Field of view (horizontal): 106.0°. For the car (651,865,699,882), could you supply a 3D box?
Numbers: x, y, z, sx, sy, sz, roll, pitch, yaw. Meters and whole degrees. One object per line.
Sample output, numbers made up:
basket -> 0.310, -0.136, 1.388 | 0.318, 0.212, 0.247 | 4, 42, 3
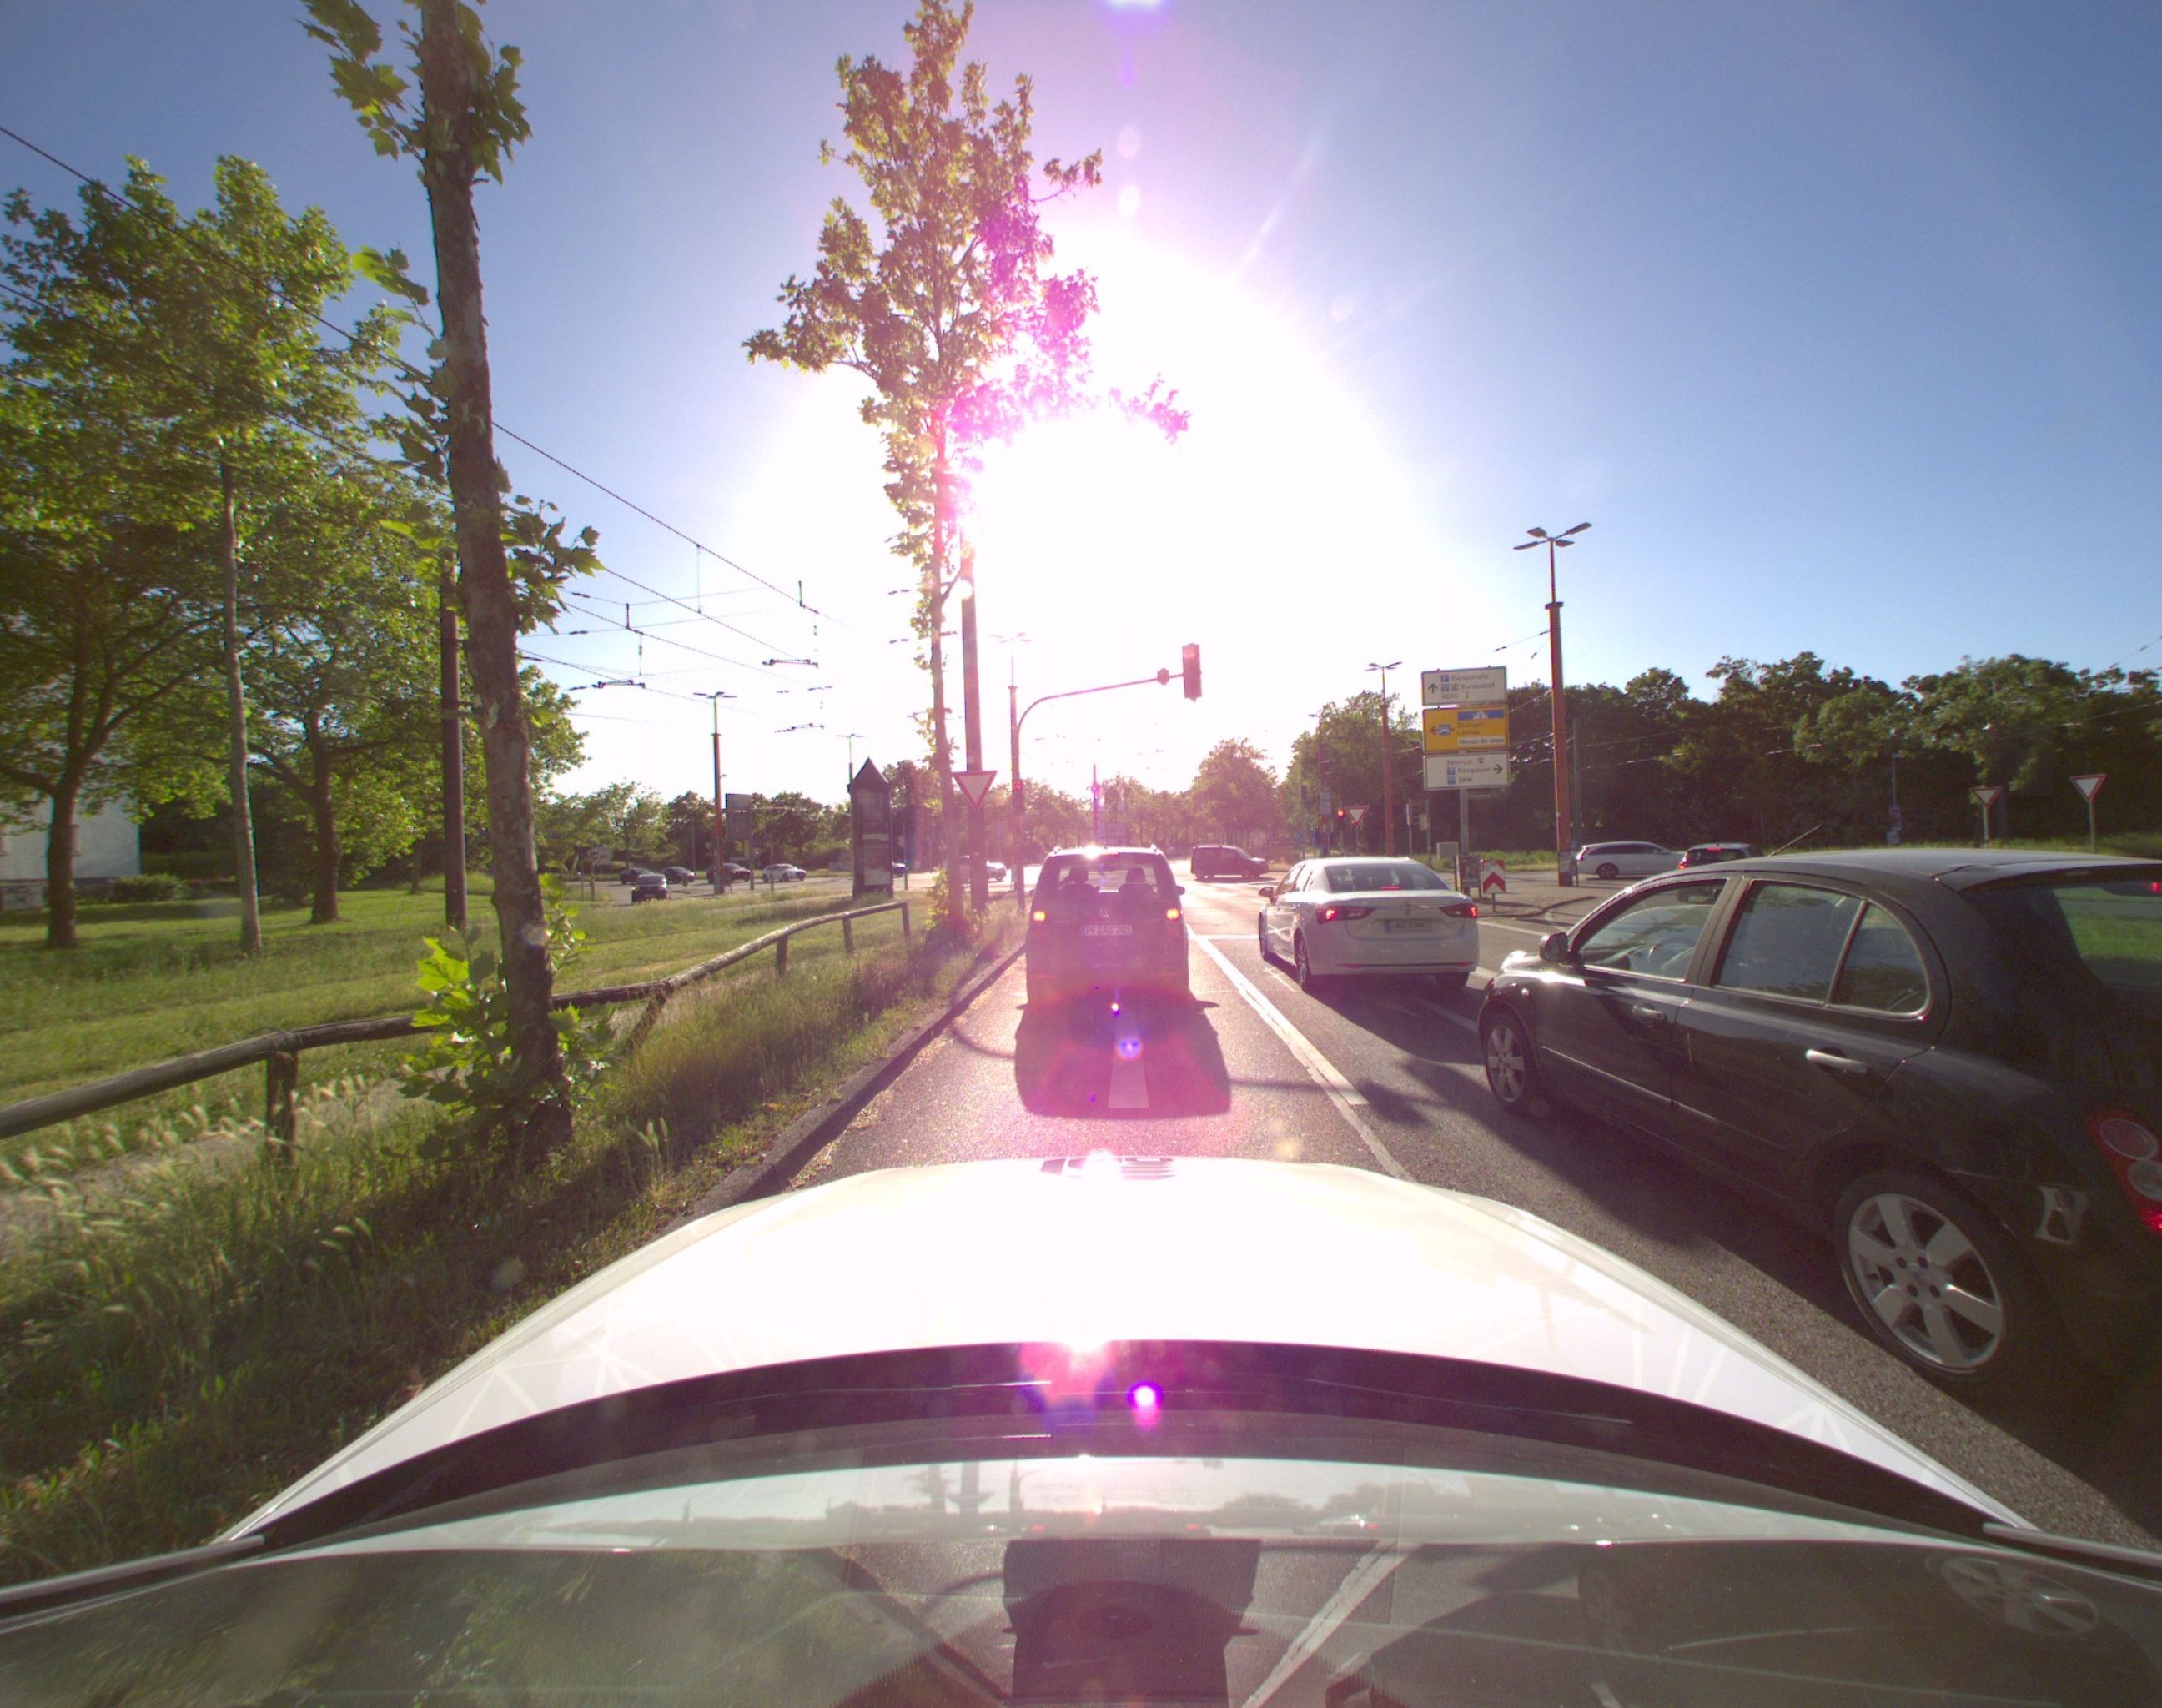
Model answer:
car -> -37.323, 1.776, 74.822 | 4.004, 1.464, 1.926 | -2, 0, 28

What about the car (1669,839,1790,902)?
car -> 16.896, 0.380, 21.148 | 3.913, 1.469, 1.731 | -2, 0, -41

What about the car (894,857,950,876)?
car -> -13.032, 1.025, 66.835 | 4.194, 1.464, 1.914 | -2, 0, 0

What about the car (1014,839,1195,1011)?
car -> 0.295, 0.695, 9.985 | 1.731, 1.641, 4.002 | -2, 0, 2

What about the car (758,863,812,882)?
car -> -24.746, 1.538, 68.119 | 4.169, 1.464, 1.926 | -2, 0, 29

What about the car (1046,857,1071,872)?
car -> -2.862, 1.332, 104.509 | 1.980, 1.684, 4.846 | -2, 0, 13

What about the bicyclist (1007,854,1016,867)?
bicyclist -> -8.112, 0.762, 95.010 | 0.686, 1.457, 0.879 | -2, -1, 20

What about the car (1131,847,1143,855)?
car -> 12.568, -0.735, 183.059 | 1.979, 1.684, 4.846 | -2, 0, 14

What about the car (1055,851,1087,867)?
car -> -1.109, 0.511, 91.920 | 1.977, 1.684, 4.853 | -2, 0, 20

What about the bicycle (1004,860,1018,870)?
bicycle -> -8.143, 1.229, 94.789 | 0.728, 1.090, 1.971 | -2, 0, 21

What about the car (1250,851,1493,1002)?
car -> 3.297, 0.718, 10.113 | 1.708, 1.454, 4.147 | -2, 0, 3

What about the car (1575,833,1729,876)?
car -> 22.783, 0.050, 32.775 | 4.867, 1.575, 2.013 | -2, 0, 30

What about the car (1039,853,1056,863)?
car -> -4.862, 0.540, 118.094 | 1.647, 1.310, 3.827 | -2, 0, 11

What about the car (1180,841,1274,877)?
car -> 8.078, 0.297, 45.193 | 4.735, 1.836, 1.926 | -2, 0, 29

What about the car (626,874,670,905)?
car -> -21.901, 1.759, 41.290 | 1.831, 1.420, 3.725 | -2, 0, -27

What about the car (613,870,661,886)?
car -> -42.346, 2.287, 77.644 | 4.187, 1.464, 1.926 | -2, 0, 28

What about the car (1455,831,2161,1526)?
car -> 3.167, 0.692, 3.509 | 1.550, 1.506, 3.517 | -2, 0, 2

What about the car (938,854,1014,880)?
car -> -7.016, 0.867, 54.210 | 4.735, 1.598, 1.926 | -2, 0, 29

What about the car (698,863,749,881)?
car -> -31.634, 1.570, 72.024 | 4.318, 1.464, 1.926 | -2, 0, 29
